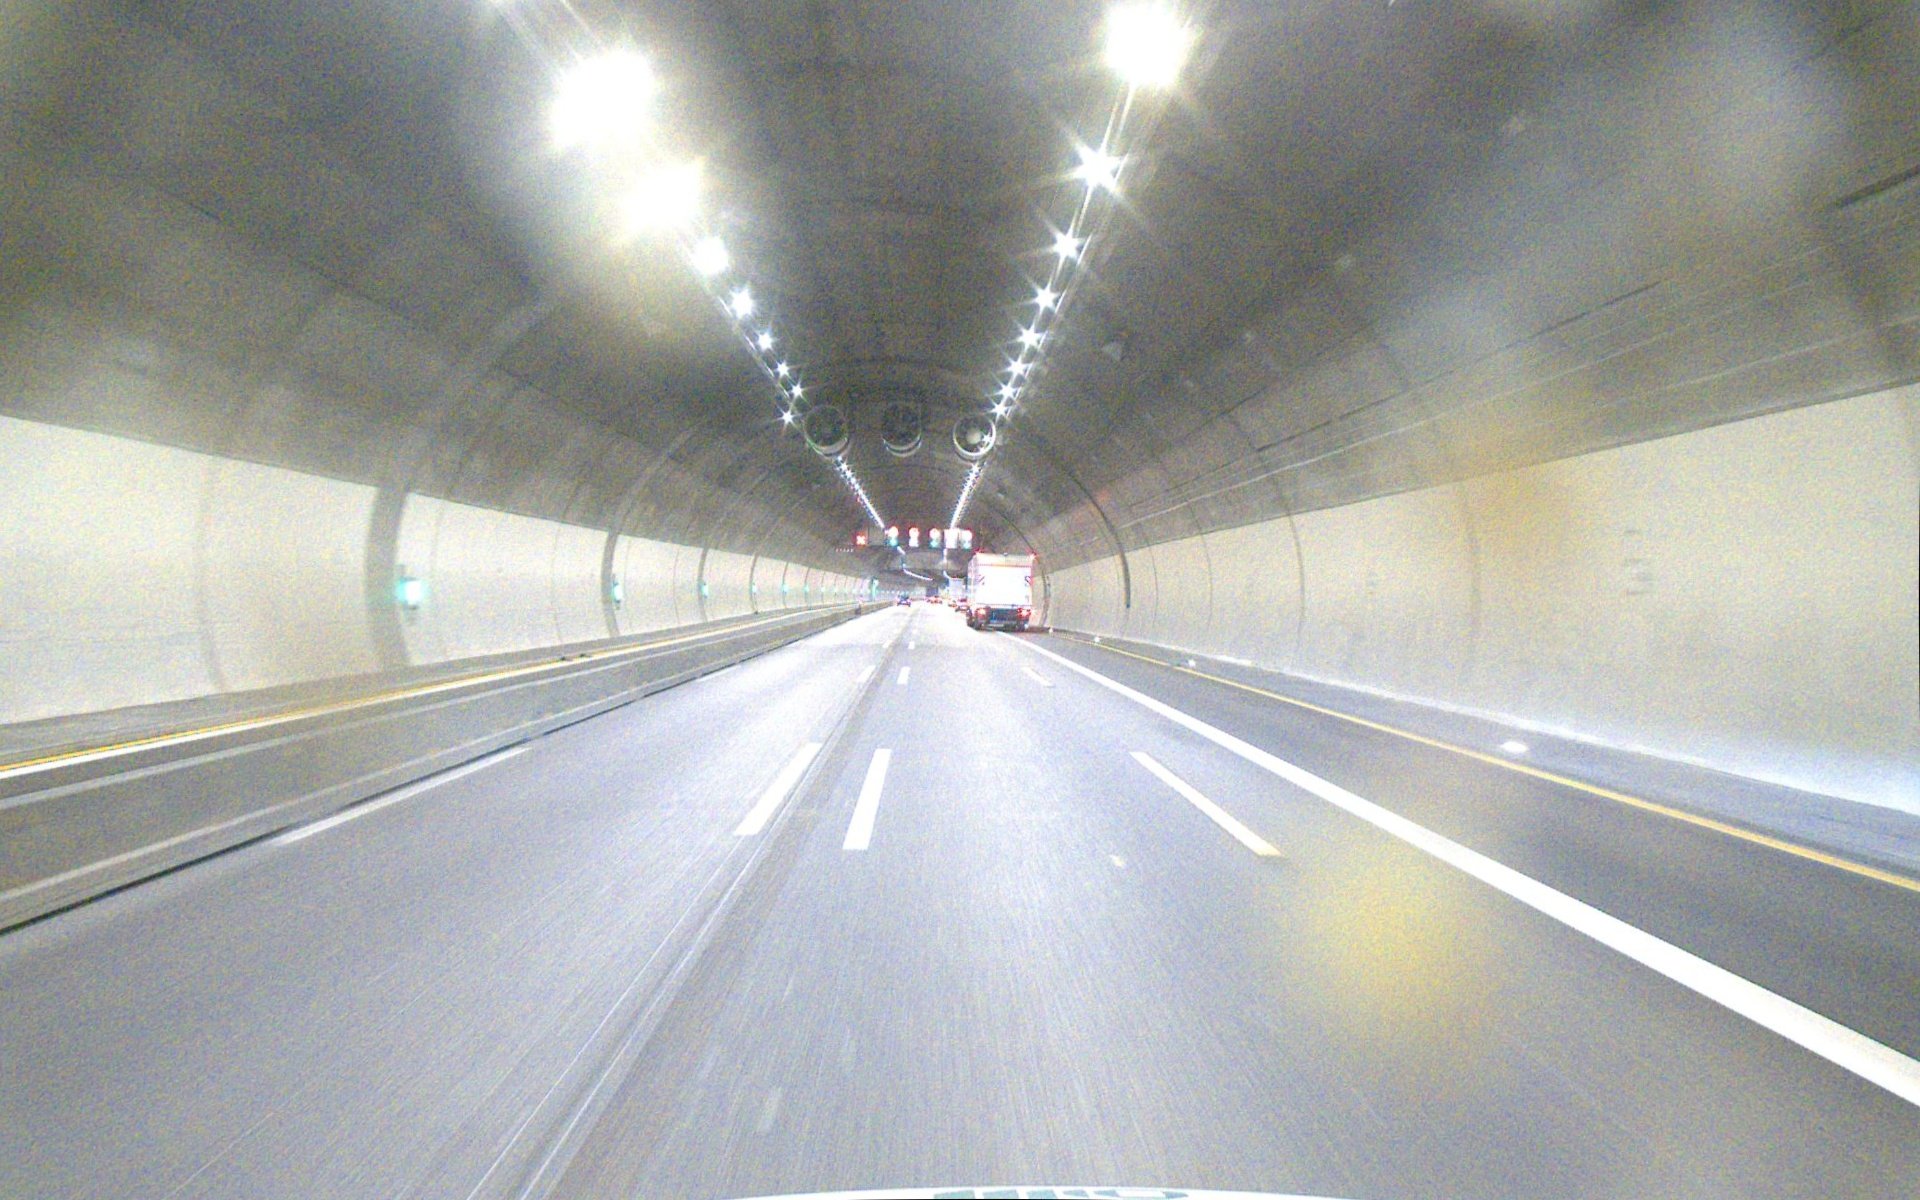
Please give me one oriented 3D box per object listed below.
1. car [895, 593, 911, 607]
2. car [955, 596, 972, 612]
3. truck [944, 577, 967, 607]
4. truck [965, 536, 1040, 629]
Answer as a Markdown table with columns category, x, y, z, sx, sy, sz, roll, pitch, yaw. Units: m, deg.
| category | x | y | z | sx | sy | sz | roll | pitch | yaw |
| --- | --- | --- | --- | --- | --- | --- | --- | --- | --- |
| car | -6.606 | 0.029 | 190.965 | 1.723 | 1.486 | 4.118 | 2 | 1 | -1 |
| car | 0.359 | 0.383 | 167.376 | 1.704 | 1.486 | 3.960 | 2 | 1 | 0 |
| truck | -0.645 | -1.090 | 239.081 | 3.003 | 3.986 | 10.367 | 2 | -1 | 1 |
| truck | 1.894 | -0.716 | 78.335 | 3.029 | 3.986 | 10.365 | 2 | -1 | -1 |
